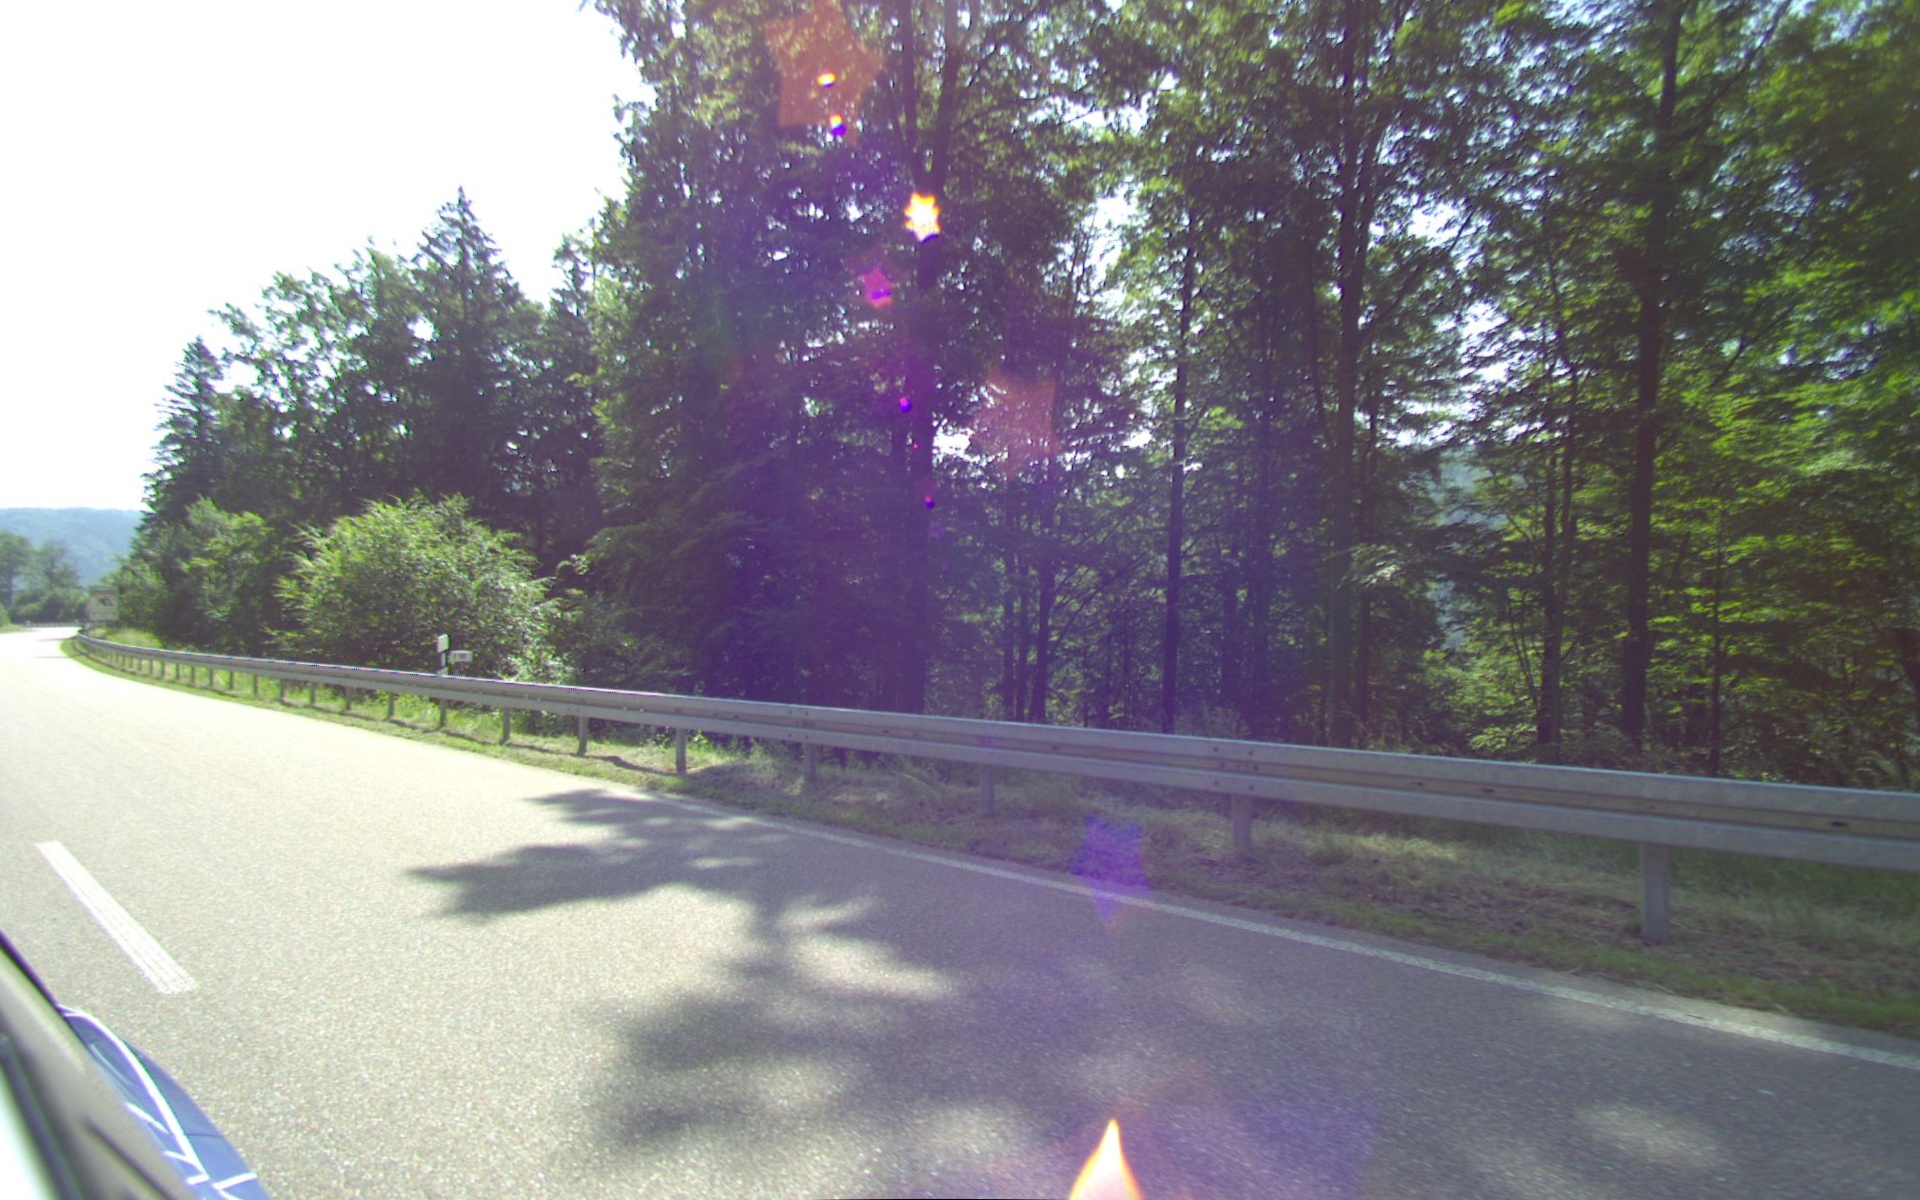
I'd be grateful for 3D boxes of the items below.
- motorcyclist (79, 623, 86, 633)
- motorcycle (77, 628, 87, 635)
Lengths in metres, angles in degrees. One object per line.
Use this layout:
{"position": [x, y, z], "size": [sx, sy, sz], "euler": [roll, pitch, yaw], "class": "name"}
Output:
{"position": [-135.406, 4.286, 156.137], "size": [0.649, 1.525, 0.936], "euler": [1, -2, -36], "class": "motorcyclist"}
{"position": [-135.302, 4.804, 155.982], "size": [0.971, 1.079, 1.967], "euler": [1, -2, -36], "class": "motorcycle"}
